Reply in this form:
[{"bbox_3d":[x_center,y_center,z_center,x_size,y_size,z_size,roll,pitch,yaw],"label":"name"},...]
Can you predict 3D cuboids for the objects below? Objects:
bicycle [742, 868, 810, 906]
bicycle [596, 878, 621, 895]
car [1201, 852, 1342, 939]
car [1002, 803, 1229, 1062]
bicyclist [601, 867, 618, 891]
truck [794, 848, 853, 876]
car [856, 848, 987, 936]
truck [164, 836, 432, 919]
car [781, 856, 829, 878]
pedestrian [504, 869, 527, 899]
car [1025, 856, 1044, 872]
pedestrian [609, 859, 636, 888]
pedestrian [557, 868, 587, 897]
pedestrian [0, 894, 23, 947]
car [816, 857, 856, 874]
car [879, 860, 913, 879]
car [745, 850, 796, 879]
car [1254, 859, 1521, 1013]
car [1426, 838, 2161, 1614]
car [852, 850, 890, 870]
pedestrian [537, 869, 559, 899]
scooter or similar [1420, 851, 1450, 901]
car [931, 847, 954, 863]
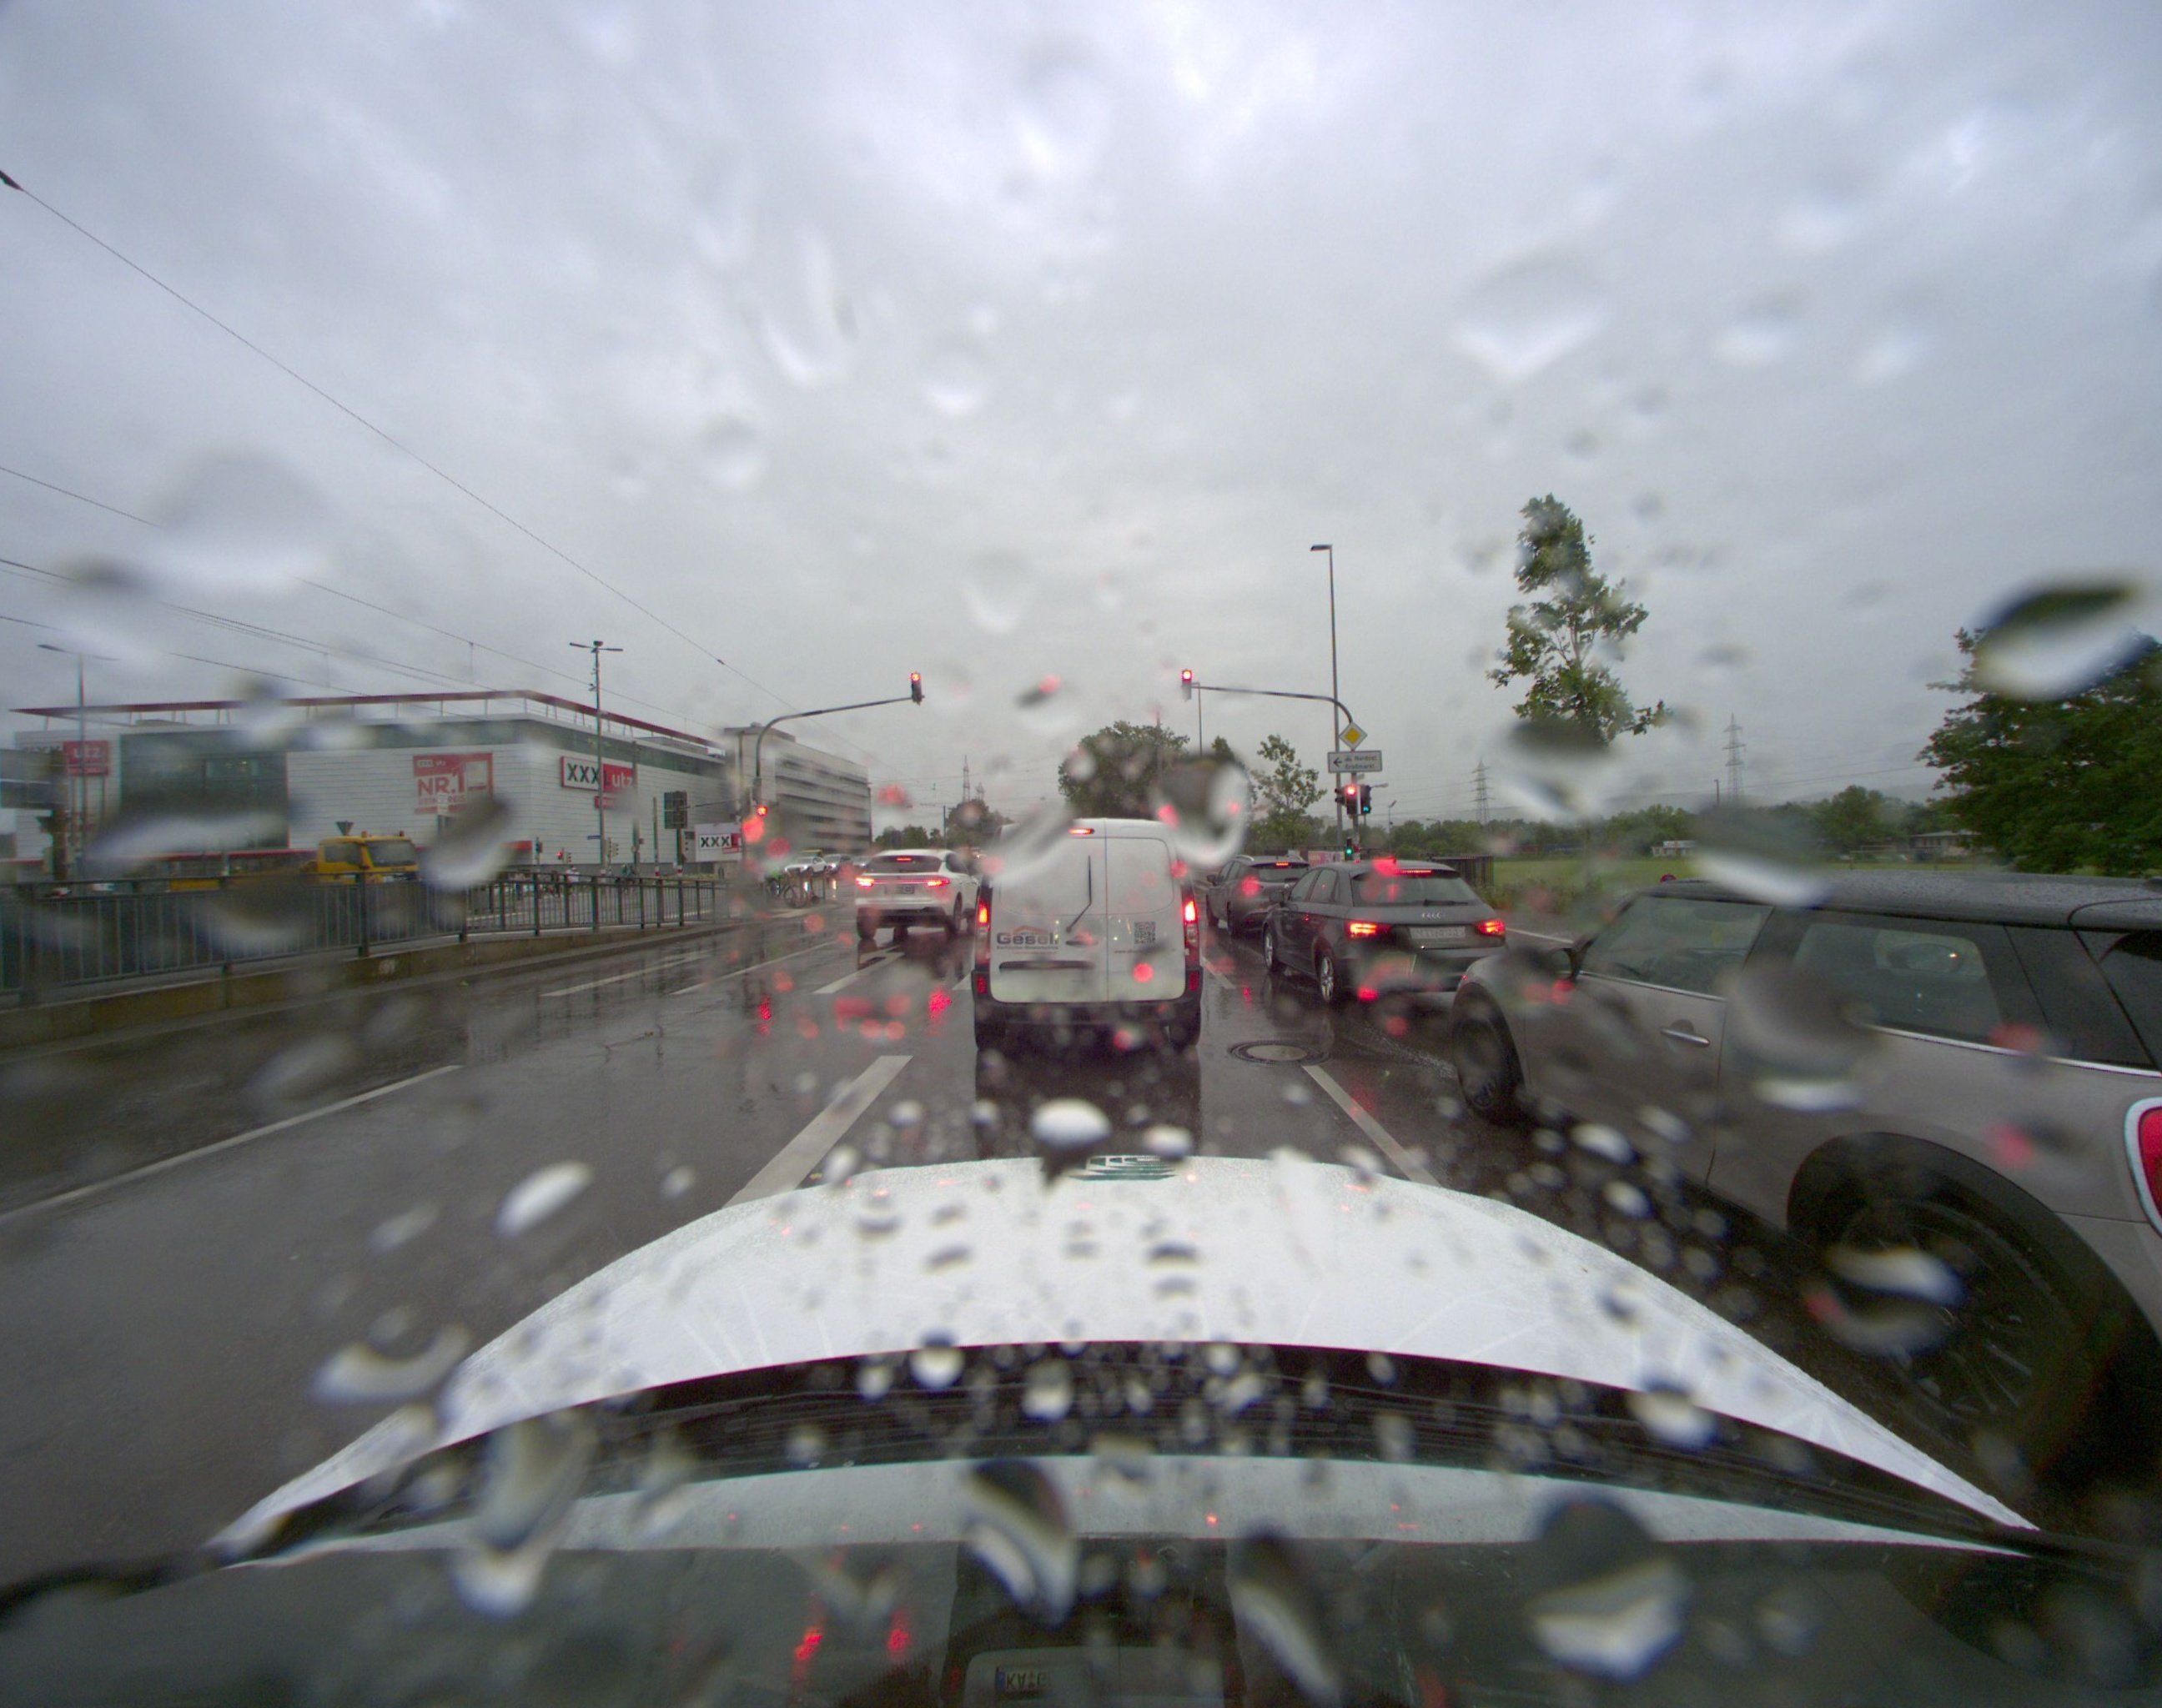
[{"bbox_3d":[-8.871,0.962,23.710,1.745,1.034,0.414,2,-1,0],"label":"bicycle"},{"bbox_3d":[-28.630,1.978,49.342,0.448,0.987,1.710,0,-1,3],"label":"bicycle"},{"bbox_3d":[3.482,0.692,15.595,1.853,1.428,3.808,0,0,1],"label":"car"},{"bbox_3d":[0.304,0.557,7.694,1.560,1.788,4.002,-1,0,2],"label":"car"},{"bbox_3d":[-28.607,1.506,49.411,0.681,1.464,0.647,0,-1,3],"label":"bicyclist"},{"bbox_3d":[-22.306,0.671,70.983,2.342,2.279,7.637,0,0,2],"label":"truck"},{"bbox_3d":[-3.034,0.646,16.378,1.723,1.535,4.298,0,0,1],"label":"car"},{"bbox_3d":[-28.280,0.823,29.646,7.100,2.816,2.640,-1,-1,-1],"label":"truck"},{"bbox_3d":[-19.526,0.923,57.758,1.689,1.492,3.884,-1,-1,7],"label":"car"},{"bbox_3d":[-31.384,1.636,45.226,0.701,1.632,0.918,0,-1,-10],"label":"pedestrian"},{"bbox_3d":[-4.529,0.929,78.811,1.613,1.503,3.705,0,-1,-8],"label":"car"},{"bbox_3d":[-26.641,1.135,47.367,0.912,1.632,1.015,-1,-1,12],"label":"pedestrian"},{"bbox_3d":[-28.950,1.594,46.322,1.014,1.632,1.091,-1,-1,26],"label":"pedestrian"},{"bbox_3d":[-32.444,1.990,24.311,0.561,1.537,0.872,0,-1,1],"label":"pedestrian"},{"bbox_3d":[-19.171,0.902,63.875,1.579,1.336,3.837,0,-1,6],"label":"car"},{"bbox_3d":[-17.676,1.458,78.024,1.919,1.827,4.007,0,-1,6],"label":"car"},{"bbox_3d":[-23.080,0.770,60.704,1.983,2.014,4.007,0,-1,6],"label":"car"},{"bbox_3d":[3.081,0.734,8.973,1.623,1.344,3.624,0,0,1],"label":"car"},{"bbox_3d":[2.974,0.716,3.244,1.707,1.508,3.624,0,0,1],"label":"car"},{"bbox_3d":[-18.286,0.553,70.972,1.883,1.699,4.006,0,-1,6],"label":"car"},{"bbox_3d":[-29.753,1.651,45.501,0.701,1.632,0.918,0,-1,-10],"label":"pedestrian"},{"bbox_3d":[8.435,0.519,19.448,0.244,1.158,1.187,0,-1,3],"label":"scooter or similar"},{"bbox_3d":[-17.812,0.173,104.671,1.985,2.014,4.003,0,-1,3],"label":"car"}]
